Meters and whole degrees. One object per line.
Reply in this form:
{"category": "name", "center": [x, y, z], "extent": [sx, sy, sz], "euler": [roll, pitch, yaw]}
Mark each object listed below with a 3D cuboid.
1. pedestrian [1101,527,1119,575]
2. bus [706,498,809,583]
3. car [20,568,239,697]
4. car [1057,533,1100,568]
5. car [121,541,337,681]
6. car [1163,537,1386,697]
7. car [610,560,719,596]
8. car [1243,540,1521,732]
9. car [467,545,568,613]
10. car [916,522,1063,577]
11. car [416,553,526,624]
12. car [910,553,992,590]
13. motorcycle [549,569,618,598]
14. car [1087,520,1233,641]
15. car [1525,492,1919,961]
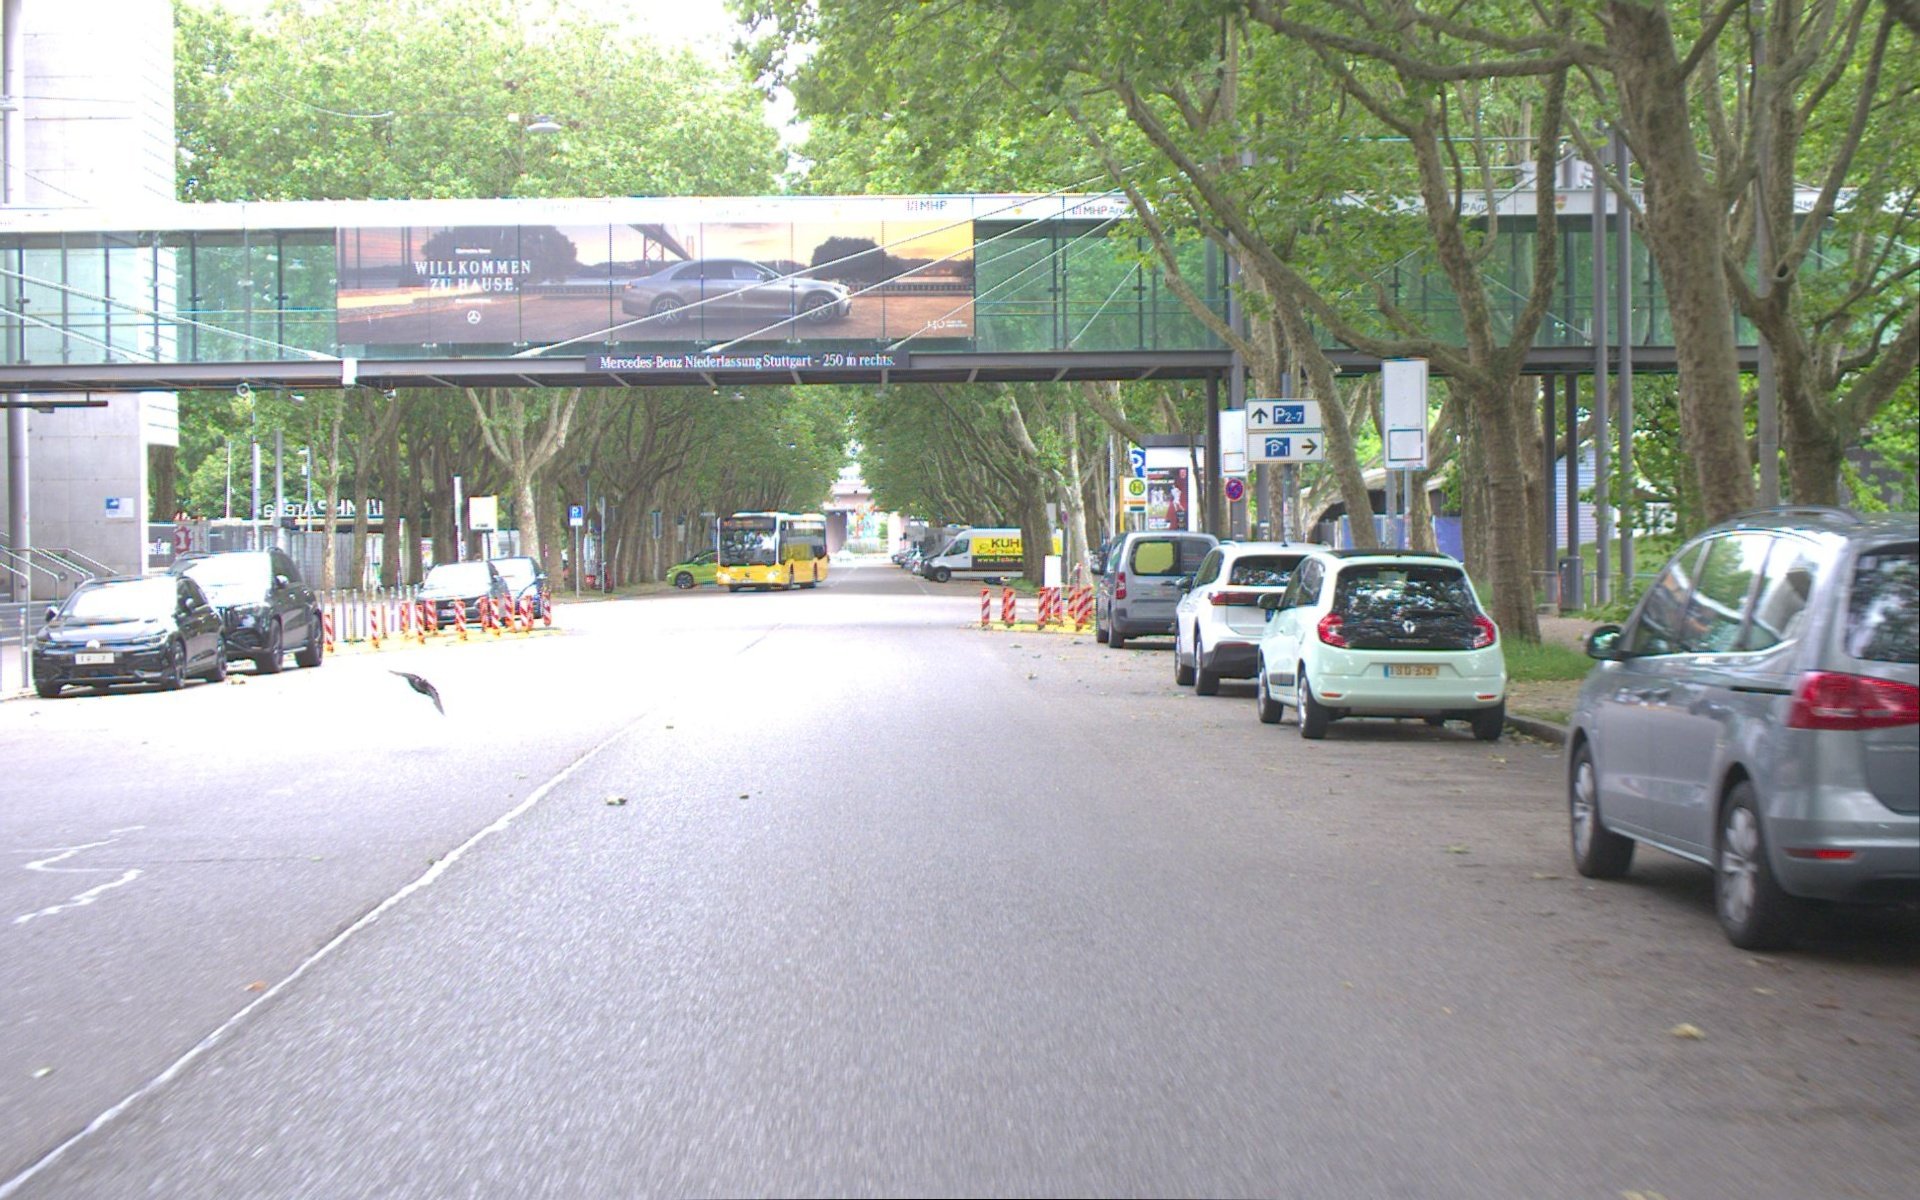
{"category": "pedestrian", "center": [5.926, -1.948, 135.678], "extent": [0.572, 1.881, 0.617], "euler": [-1, 0, -10]}
{"category": "bus", "center": [-8.081, -2.360, 138.886], "extent": [3.038, 3.149, 12.677], "euler": [-2, 1, 1]}
{"category": "car", "center": [-10.441, 0.370, 43.507], "extent": [1.704, 1.415, 4.325], "euler": [-3, 1, -1]}
{"category": "car", "center": [6.017, -2.506, 175.104], "extent": [1.993, 1.766, 4.000], "euler": [0, 1, -1]}
{"category": "car", "center": [-10.432, 0.105, 49.425], "extent": [2.034, 1.783, 4.908], "euler": [-3, 1, -1]}
{"category": "car", "center": [3.355, 0.147, 37.509], "extent": [1.914, 1.612, 4.749], "euler": [0, 1, -1]}
{"category": "car", "center": [-13.204, -0.982, 153.660], "extent": [4.700, 1.579, 1.864], "euler": [0, 1, 0]}
{"category": "car", "center": [3.543, 0.265, 29.505], "extent": [1.807, 1.521, 4.096], "euler": [0, 1, -1]}
{"category": "car", "center": [-11.191, -0.555, 87.145], "extent": [1.993, 1.579, 4.113], "euler": [-3, 1, -1]}
{"category": "car", "center": [1.387, -2.423, 163.894], "extent": [6.822, 2.505, 2.317], "euler": [-1, 1, -3]}
{"category": "car", "center": [-11.081, -0.279, 78.203], "extent": [1.858, 1.448, 4.449], "euler": [-3, 1, -1]}
{"category": "car", "center": [-0.458, -1.430, 171.332], "extent": [3.986, 1.788, 1.543], "euler": [0, 1, -2]}
{"category": "motorcycle", "center": [-14.818, -0.661, 135.236], "extent": [2.591, 1.119, 0.704], "euler": [-1, 1, -24]}
{"category": "car", "center": [3.072, -0.327, 53.658], "extent": [1.847, 1.777, 5.211], "euler": [1, 1, -1]}
{"category": "car", "center": [3.875, 0.421, 14.683], "extent": [1.981, 1.674, 4.732], "euler": [0, 1, -2]}
